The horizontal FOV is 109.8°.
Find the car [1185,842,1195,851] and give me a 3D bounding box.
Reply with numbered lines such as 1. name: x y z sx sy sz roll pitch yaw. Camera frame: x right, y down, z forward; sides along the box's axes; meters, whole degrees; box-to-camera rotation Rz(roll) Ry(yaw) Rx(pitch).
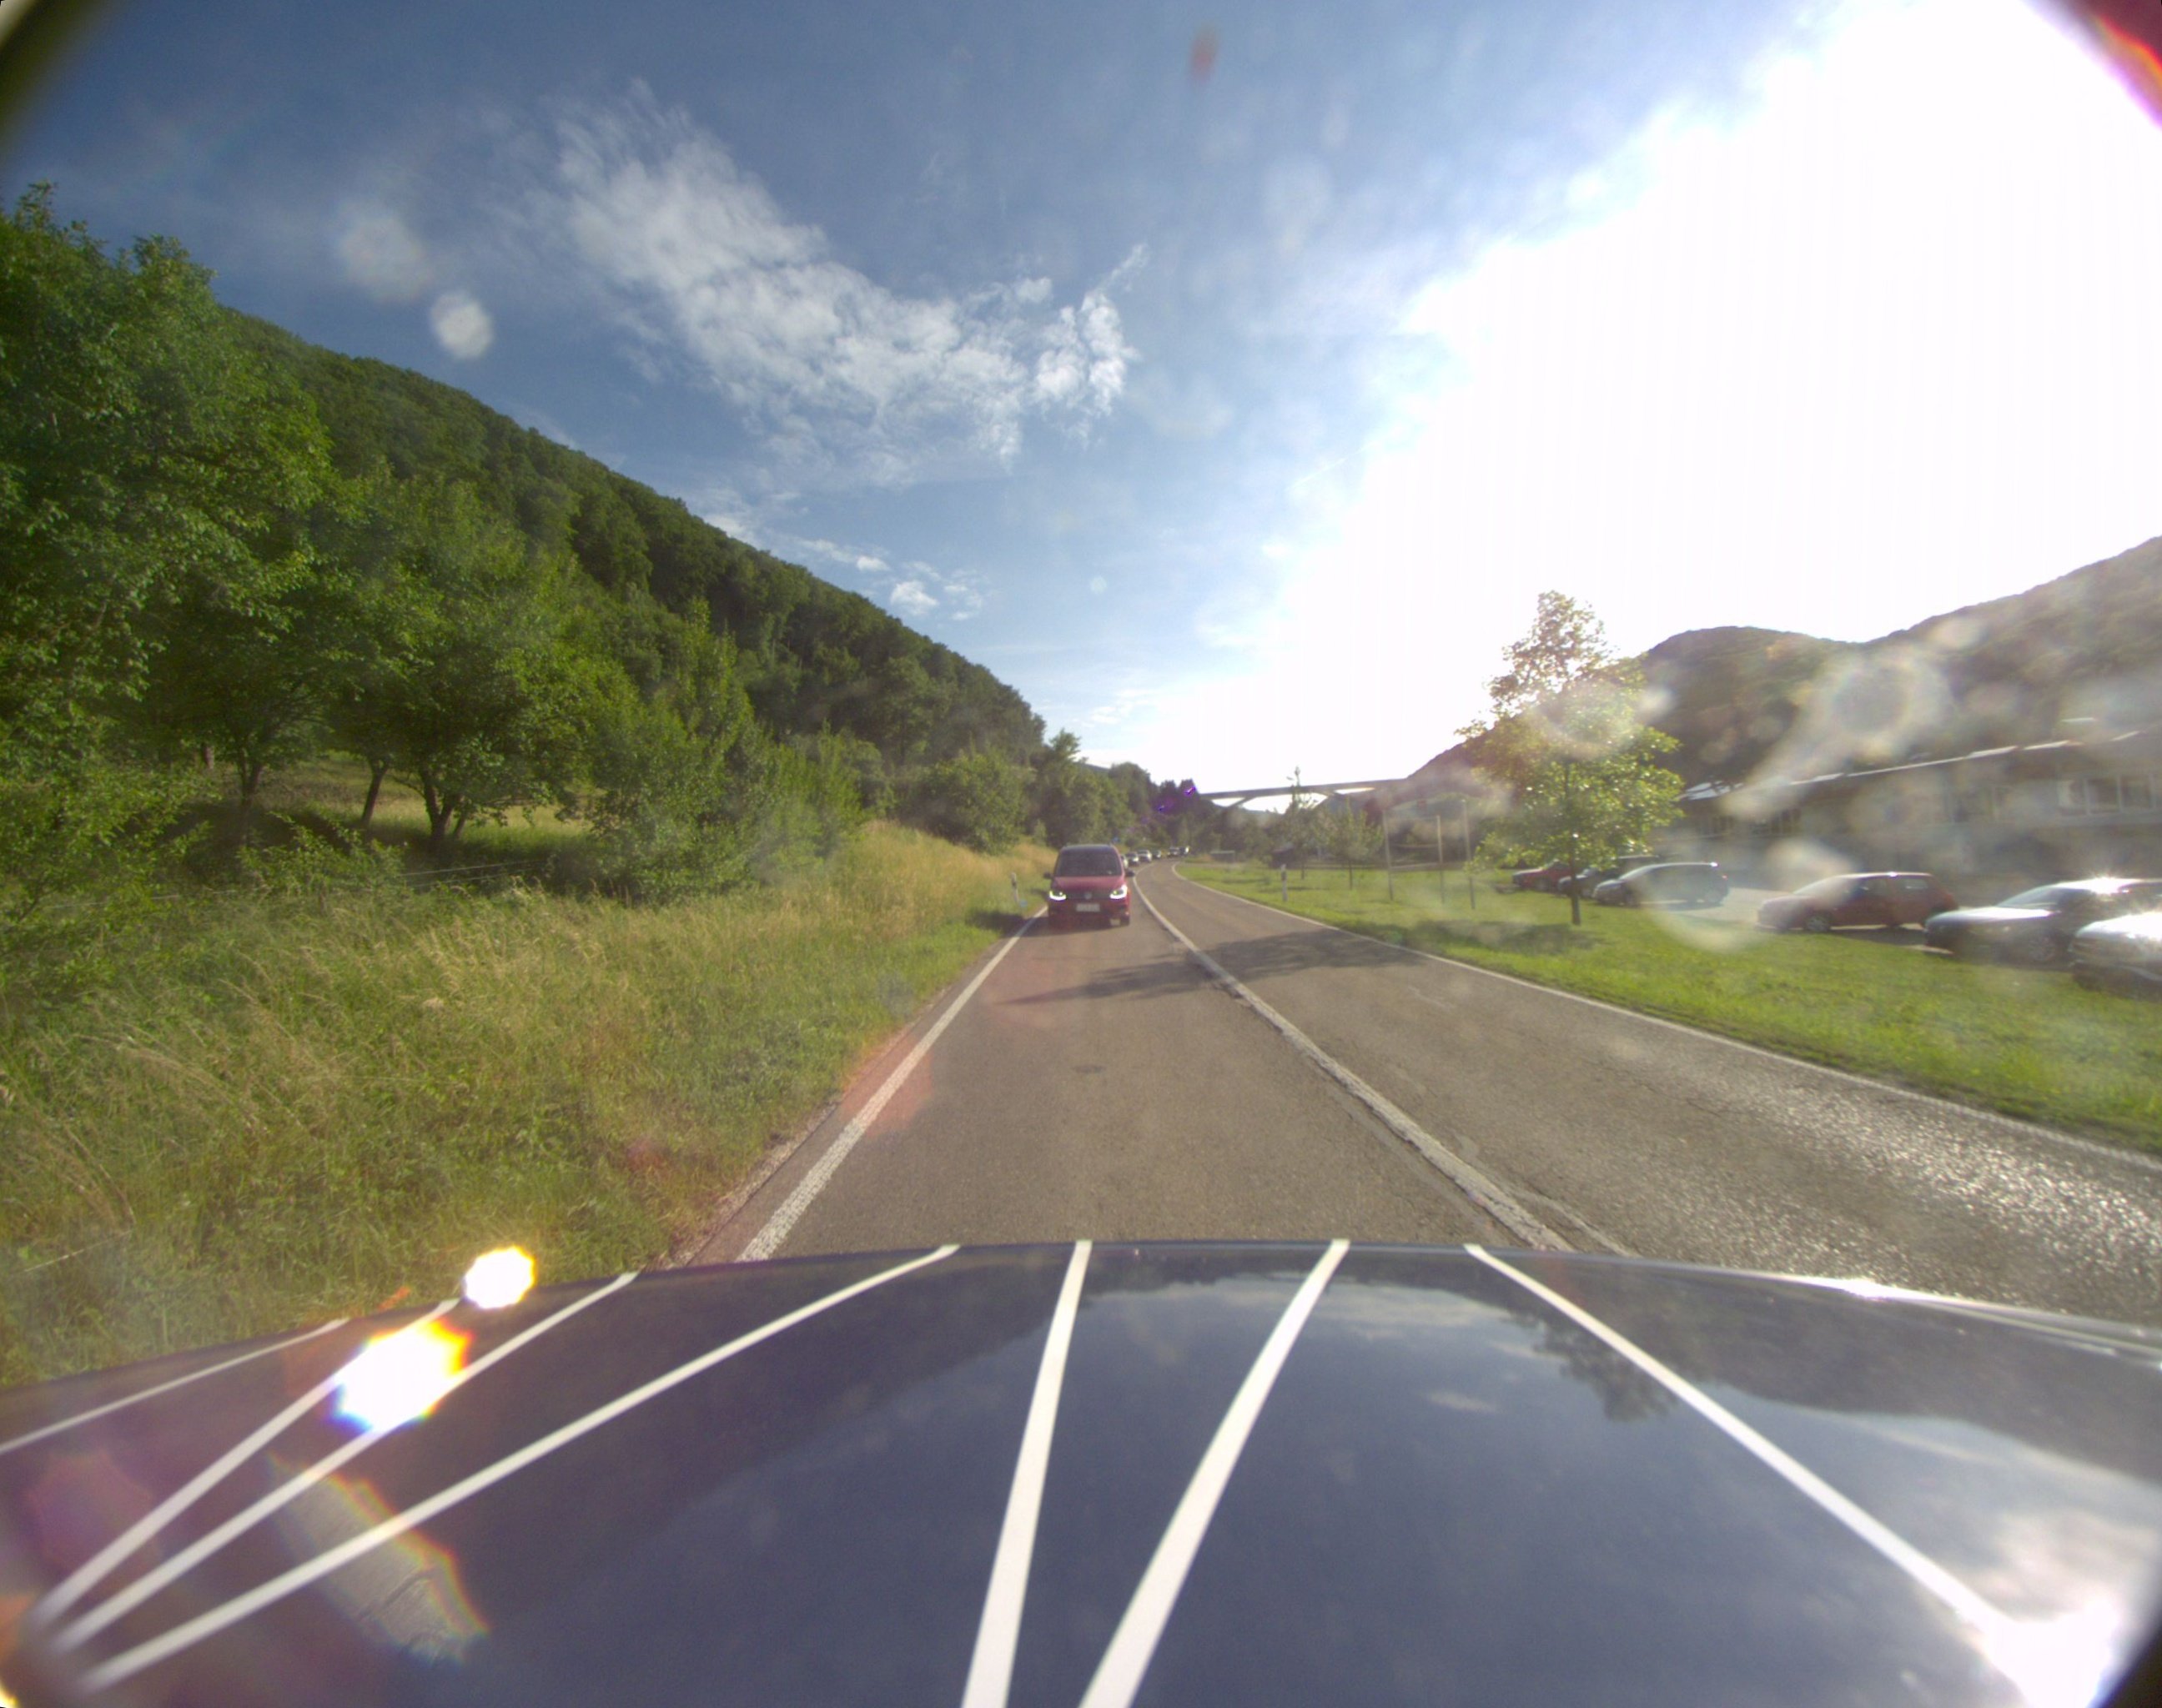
1. car: 20.826 -1.454 145.118 1.629 1.470 3.682 -2 1 11

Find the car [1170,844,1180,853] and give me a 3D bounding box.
1. car: 16.429 -1.008 132.901 1.629 1.470 3.681 -2 1 7

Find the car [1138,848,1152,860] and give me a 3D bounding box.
1. car: 8.052 -0.005 95.390 1.629 1.470 3.680 -2 1 4

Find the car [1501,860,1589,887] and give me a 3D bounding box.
1. car: 26.218 1.113 43.038 3.892 1.360 1.854 -1 1 13

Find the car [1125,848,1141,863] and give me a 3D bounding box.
1. car: 5.519 0.115 80.357 1.629 1.470 3.680 -2 1 4

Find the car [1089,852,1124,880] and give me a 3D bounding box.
1. car: 1.516 0.675 44.252 1.629 1.470 3.681 -2 1 8

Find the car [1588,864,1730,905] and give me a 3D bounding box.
1. car: 22.348 1.171 29.540 4.014 1.443 1.686 -2 -1 11

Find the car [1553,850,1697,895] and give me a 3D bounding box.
1. car: 24.333 0.840 34.147 5.000 1.783 1.685 -2 1 11

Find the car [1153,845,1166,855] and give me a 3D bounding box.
1. car: 11.931 -0.595 115.091 1.629 1.470 3.682 -2 1 11

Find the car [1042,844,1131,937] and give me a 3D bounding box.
1. car: 0.232 0.700 16.952 1.649 1.762 4.000 -2 1 4

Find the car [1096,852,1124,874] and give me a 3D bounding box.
1. car: 2.127 0.620 55.158 1.629 1.470 3.681 -2 1 8

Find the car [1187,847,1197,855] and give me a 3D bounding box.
1. car: 22.353 -0.669 153.134 1.629 1.470 3.682 -2 1 11

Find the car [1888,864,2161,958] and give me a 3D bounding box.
1. car: 19.211 1.081 14.725 4.546 1.546 2.001 -2 1 12

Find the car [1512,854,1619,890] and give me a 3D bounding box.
1. car: 25.173 0.930 39.610 4.327 1.659 1.850 -2 1 17

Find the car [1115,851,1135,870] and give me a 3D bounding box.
1. car: 3.849 0.505 65.653 1.629 1.470 3.680 -2 1 4

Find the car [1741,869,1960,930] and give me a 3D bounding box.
1. car: 19.917 1.177 19.823 3.726 1.390 1.617 -2 1 12

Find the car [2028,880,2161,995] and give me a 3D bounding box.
1. car: 18.480 1.223 11.759 4.546 1.546 2.001 -2 1 12
